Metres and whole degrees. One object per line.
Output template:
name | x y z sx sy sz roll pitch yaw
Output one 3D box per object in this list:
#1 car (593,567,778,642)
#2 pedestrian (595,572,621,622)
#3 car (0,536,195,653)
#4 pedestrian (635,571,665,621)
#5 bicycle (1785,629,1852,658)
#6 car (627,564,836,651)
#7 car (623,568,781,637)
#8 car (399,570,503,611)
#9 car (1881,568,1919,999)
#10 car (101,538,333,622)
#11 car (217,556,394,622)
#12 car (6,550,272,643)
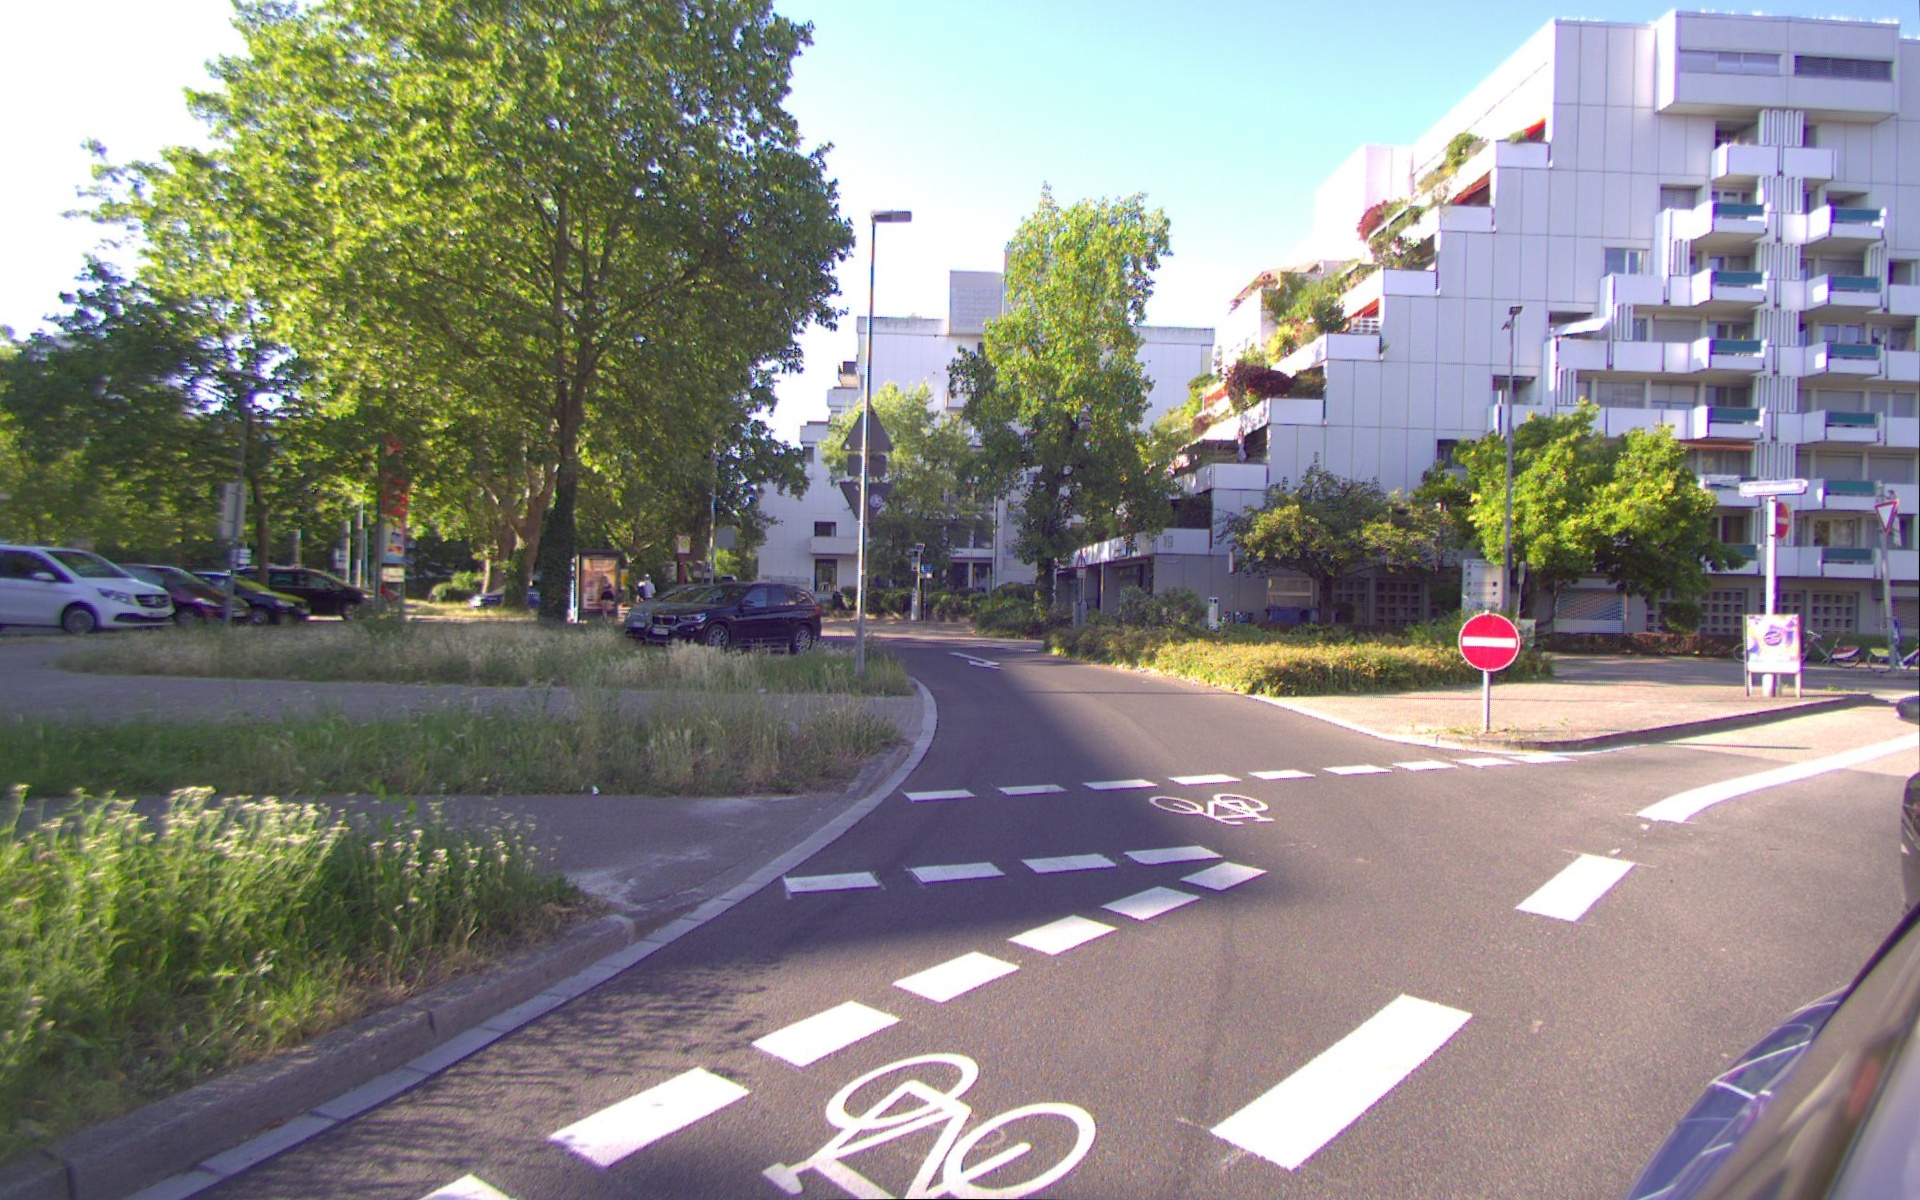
car | -6.803 0.156 25.494 1.816 1.607 4.316 4 0 33
pedestrian | -12.030 -0.092 34.598 0.619 1.683 0.744 1 0 -37
car | -19.396 -0.203 21.227 4.951 2.123 2.003 5 0 -5
pedestrian | -10.526 -0.141 34.368 0.714 1.683 0.743 1 0 9
bicycle | 27.270 1.373 32.148 0.456 0.794 1.572 1 1 -44
car | -5.023 0.227 22.855 1.925 1.680 4.423 4 0 33
car | -7.232 0.098 28.683 1.865 1.659 3.941 4 0 39
car | -23.948 -0.448 47.670 4.040 1.821 1.997 -1 0 -41
car | 5.707 0.709 4.533 4.444 1.565 1.842 2 -2 -41
car | -19.679 -0.524 26.993 4.541 1.797 2.003 5 0 -5
car | -21.336 -0.355 33.223 4.537 1.797 2.005 4 0 -25
car | -19.612 -0.091 24.371 4.541 1.797 2.003 5 0 -5
